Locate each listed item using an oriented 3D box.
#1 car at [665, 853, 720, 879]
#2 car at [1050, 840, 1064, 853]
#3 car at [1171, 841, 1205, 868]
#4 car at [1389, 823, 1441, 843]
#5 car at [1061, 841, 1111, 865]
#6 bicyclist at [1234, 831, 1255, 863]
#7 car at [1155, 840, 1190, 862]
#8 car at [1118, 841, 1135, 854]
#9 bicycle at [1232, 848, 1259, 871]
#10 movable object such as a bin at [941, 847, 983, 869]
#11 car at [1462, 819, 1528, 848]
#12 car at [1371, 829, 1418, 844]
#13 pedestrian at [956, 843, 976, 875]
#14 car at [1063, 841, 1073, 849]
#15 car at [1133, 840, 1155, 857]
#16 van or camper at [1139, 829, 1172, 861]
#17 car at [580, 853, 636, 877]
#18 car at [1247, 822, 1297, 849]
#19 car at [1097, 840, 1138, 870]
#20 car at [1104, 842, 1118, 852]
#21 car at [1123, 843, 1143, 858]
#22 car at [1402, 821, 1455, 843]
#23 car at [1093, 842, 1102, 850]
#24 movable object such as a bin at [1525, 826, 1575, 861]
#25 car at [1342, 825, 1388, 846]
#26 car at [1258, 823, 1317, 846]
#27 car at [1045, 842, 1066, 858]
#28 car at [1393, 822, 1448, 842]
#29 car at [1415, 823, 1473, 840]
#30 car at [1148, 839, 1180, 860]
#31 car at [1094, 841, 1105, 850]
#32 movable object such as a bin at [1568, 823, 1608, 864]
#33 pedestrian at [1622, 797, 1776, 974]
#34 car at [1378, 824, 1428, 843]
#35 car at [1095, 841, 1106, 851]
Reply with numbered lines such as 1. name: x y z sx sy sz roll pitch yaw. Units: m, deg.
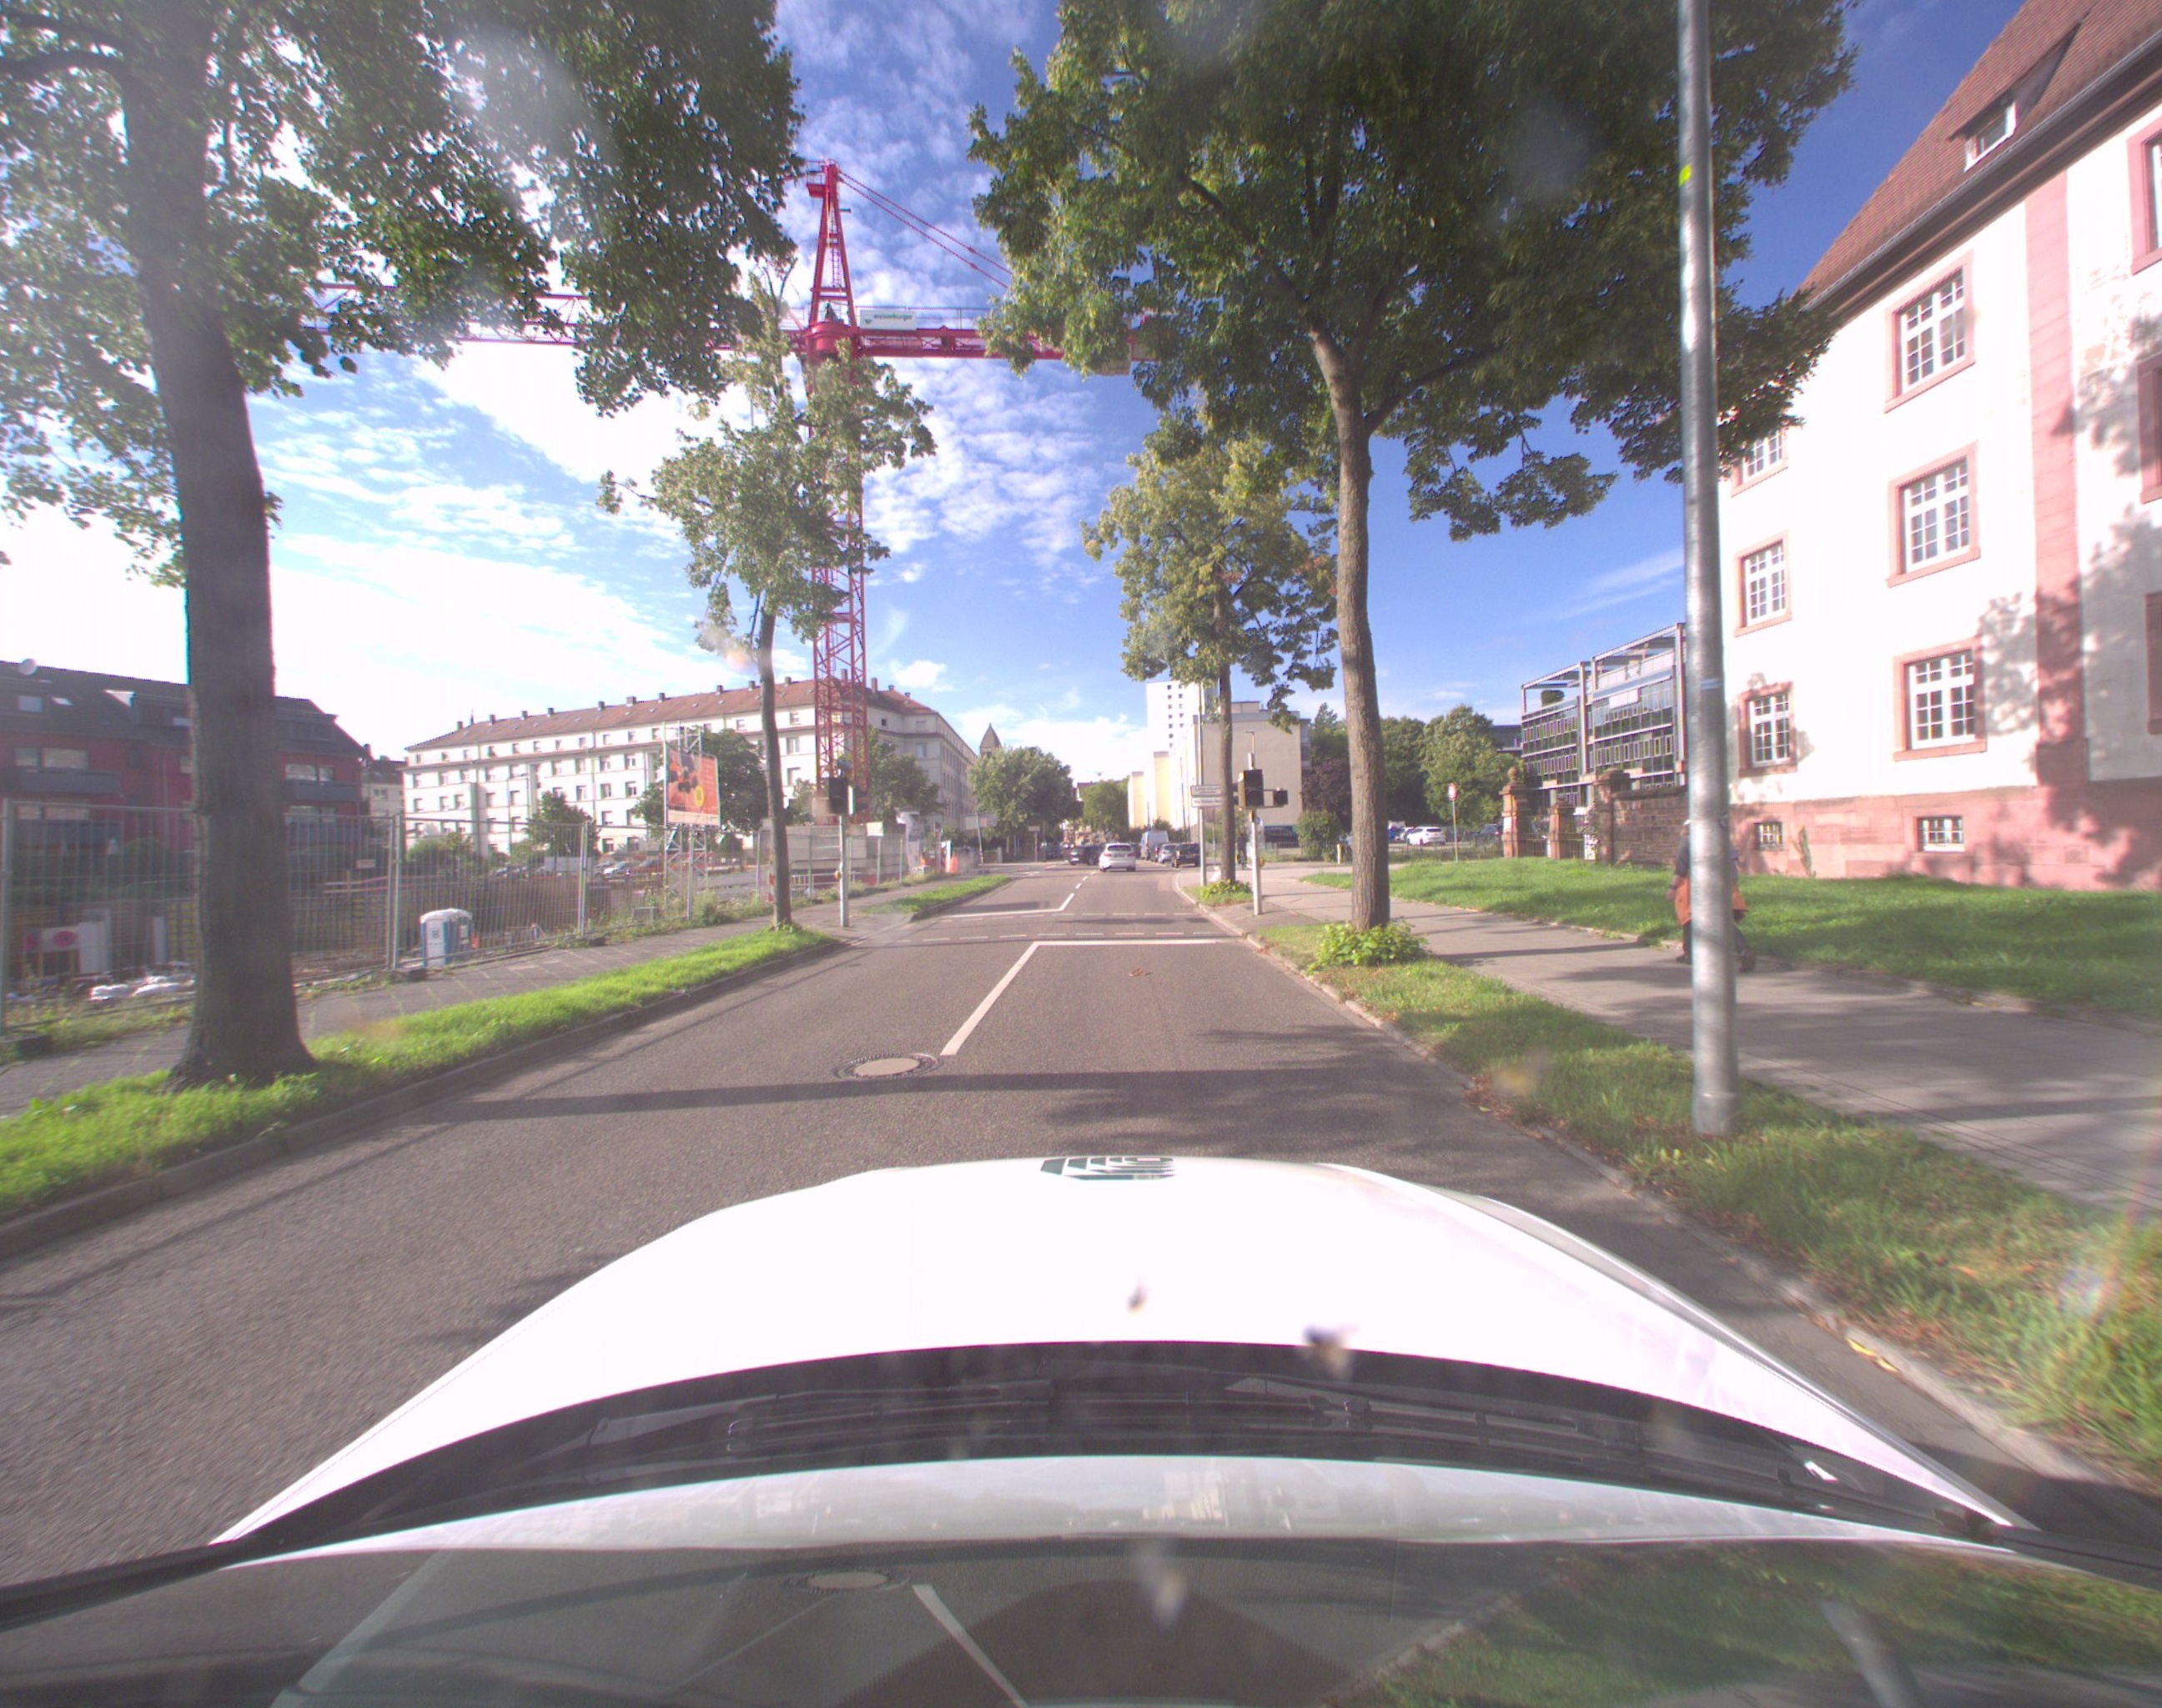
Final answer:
1. car: -33.383 1.007 70.130 1.978 2.013 4.018 -3 1 17
2. car: -4.021 -1.225 136.212 1.986 2.013 4.001 -3 1 1
3. car: 6.563 0.009 50.147 1.710 1.496 4.271 -2 0 3
4. car: 30.700 -1.953 74.910 3.973 1.596 2.000 -3 1 0
5. car: 0.412 -0.087 58.855 1.975 1.570 4.024 -1 1 27
6. bicyclist: 8.066 -0.354 40.211 0.734 1.513 0.875 -5 0 1
7. car: 6.885 -0.238 61.603 2.009 1.474 4.801 -4 0 -1
8. car: 5.981 -0.855 107.034 1.986 1.574 4.001 -3 1 1
9. bicycle: 8.115 0.262 40.286 0.737 1.034 2.763 -5 0 1
10. movable object such as a bin: -9.695 0.296 66.385 3.080 1.707 1.416 -1 0 15
11. car: 25.596 -1.253 50.528 1.842 1.589 4.611 -4 0 3
12. car: 31.716 -1.794 82.428 3.975 1.329 2.000 -3 1 -1
13. pedestrian: -6.337 0.288 44.877 1.007 1.728 1.174 -2 0 -10
14. car: -3.188 -2.069 192.684 2.052 1.663 3.920 -3 1 -5
15. car: 6.488 -0.616 83.936 1.986 1.574 4.001 -3 1 1
16. van or camper: 6.616 -0.830 72.755 2.204 2.607 5.367 -3 1 -2
17. car: -41.202 0.938 71.048 1.979 2.013 4.015 -1 0 14
18. car: 17.311 -1.672 74.000 4.100 2.185 2.003 -3 1 5
19. car: 1.962 0.029 45.005 1.988 1.555 4.272 -1 0 -1
20. car: 4.851 -1.135 132.123 1.986 1.574 4.001 -3 1 1
21. car: 6.022 -0.451 94.544 1.986 1.574 4.001 -3 1 1
22. car: 25.959 -1.611 60.985 1.991 1.442 3.993 -3 1 -5
23. car: 3.738 -1.725 181.464 1.986 1.755 4.003 -1 0 2
24. movable object such as a bin: 17.430 -0.393 30.301 1.187 1.231 1.092 -2 1 -2
25. car: 21.396 -1.400 61.500 1.988 1.442 3.999 -3 1 -1
26. car: 17.149 -1.605 67.804 4.427 1.621 2.003 -3 1 5
27. car: -2.829 -0.442 89.566 1.990 1.640 3.994 -3 1 -4
28. car: 30.118 -1.950 72.356 3.973 1.486 2.000 -3 1 0
29. car: 30.025 -1.867 67.428 3.966 1.310 2.004 -1 0 6
30. car: 6.795 -0.392 66.955 1.988 1.615 4.406 -3 1 -1
31. car: 3.670 -1.657 161.668 1.986 1.755 4.003 -1 0 2
32. movable object such as a bin: 18.474 -0.377 29.686 0.827 1.423 0.942 -2 0 -2
33. pedestrian: 6.022 0.289 7.982 0.811 1.590 0.769 -5 0 1
34. car: 30.691 -1.945 77.640 3.973 1.552 2.000 -3 1 0
35. car: 3.615 -1.479 151.065 1.986 1.755 4.003 -1 0 2
